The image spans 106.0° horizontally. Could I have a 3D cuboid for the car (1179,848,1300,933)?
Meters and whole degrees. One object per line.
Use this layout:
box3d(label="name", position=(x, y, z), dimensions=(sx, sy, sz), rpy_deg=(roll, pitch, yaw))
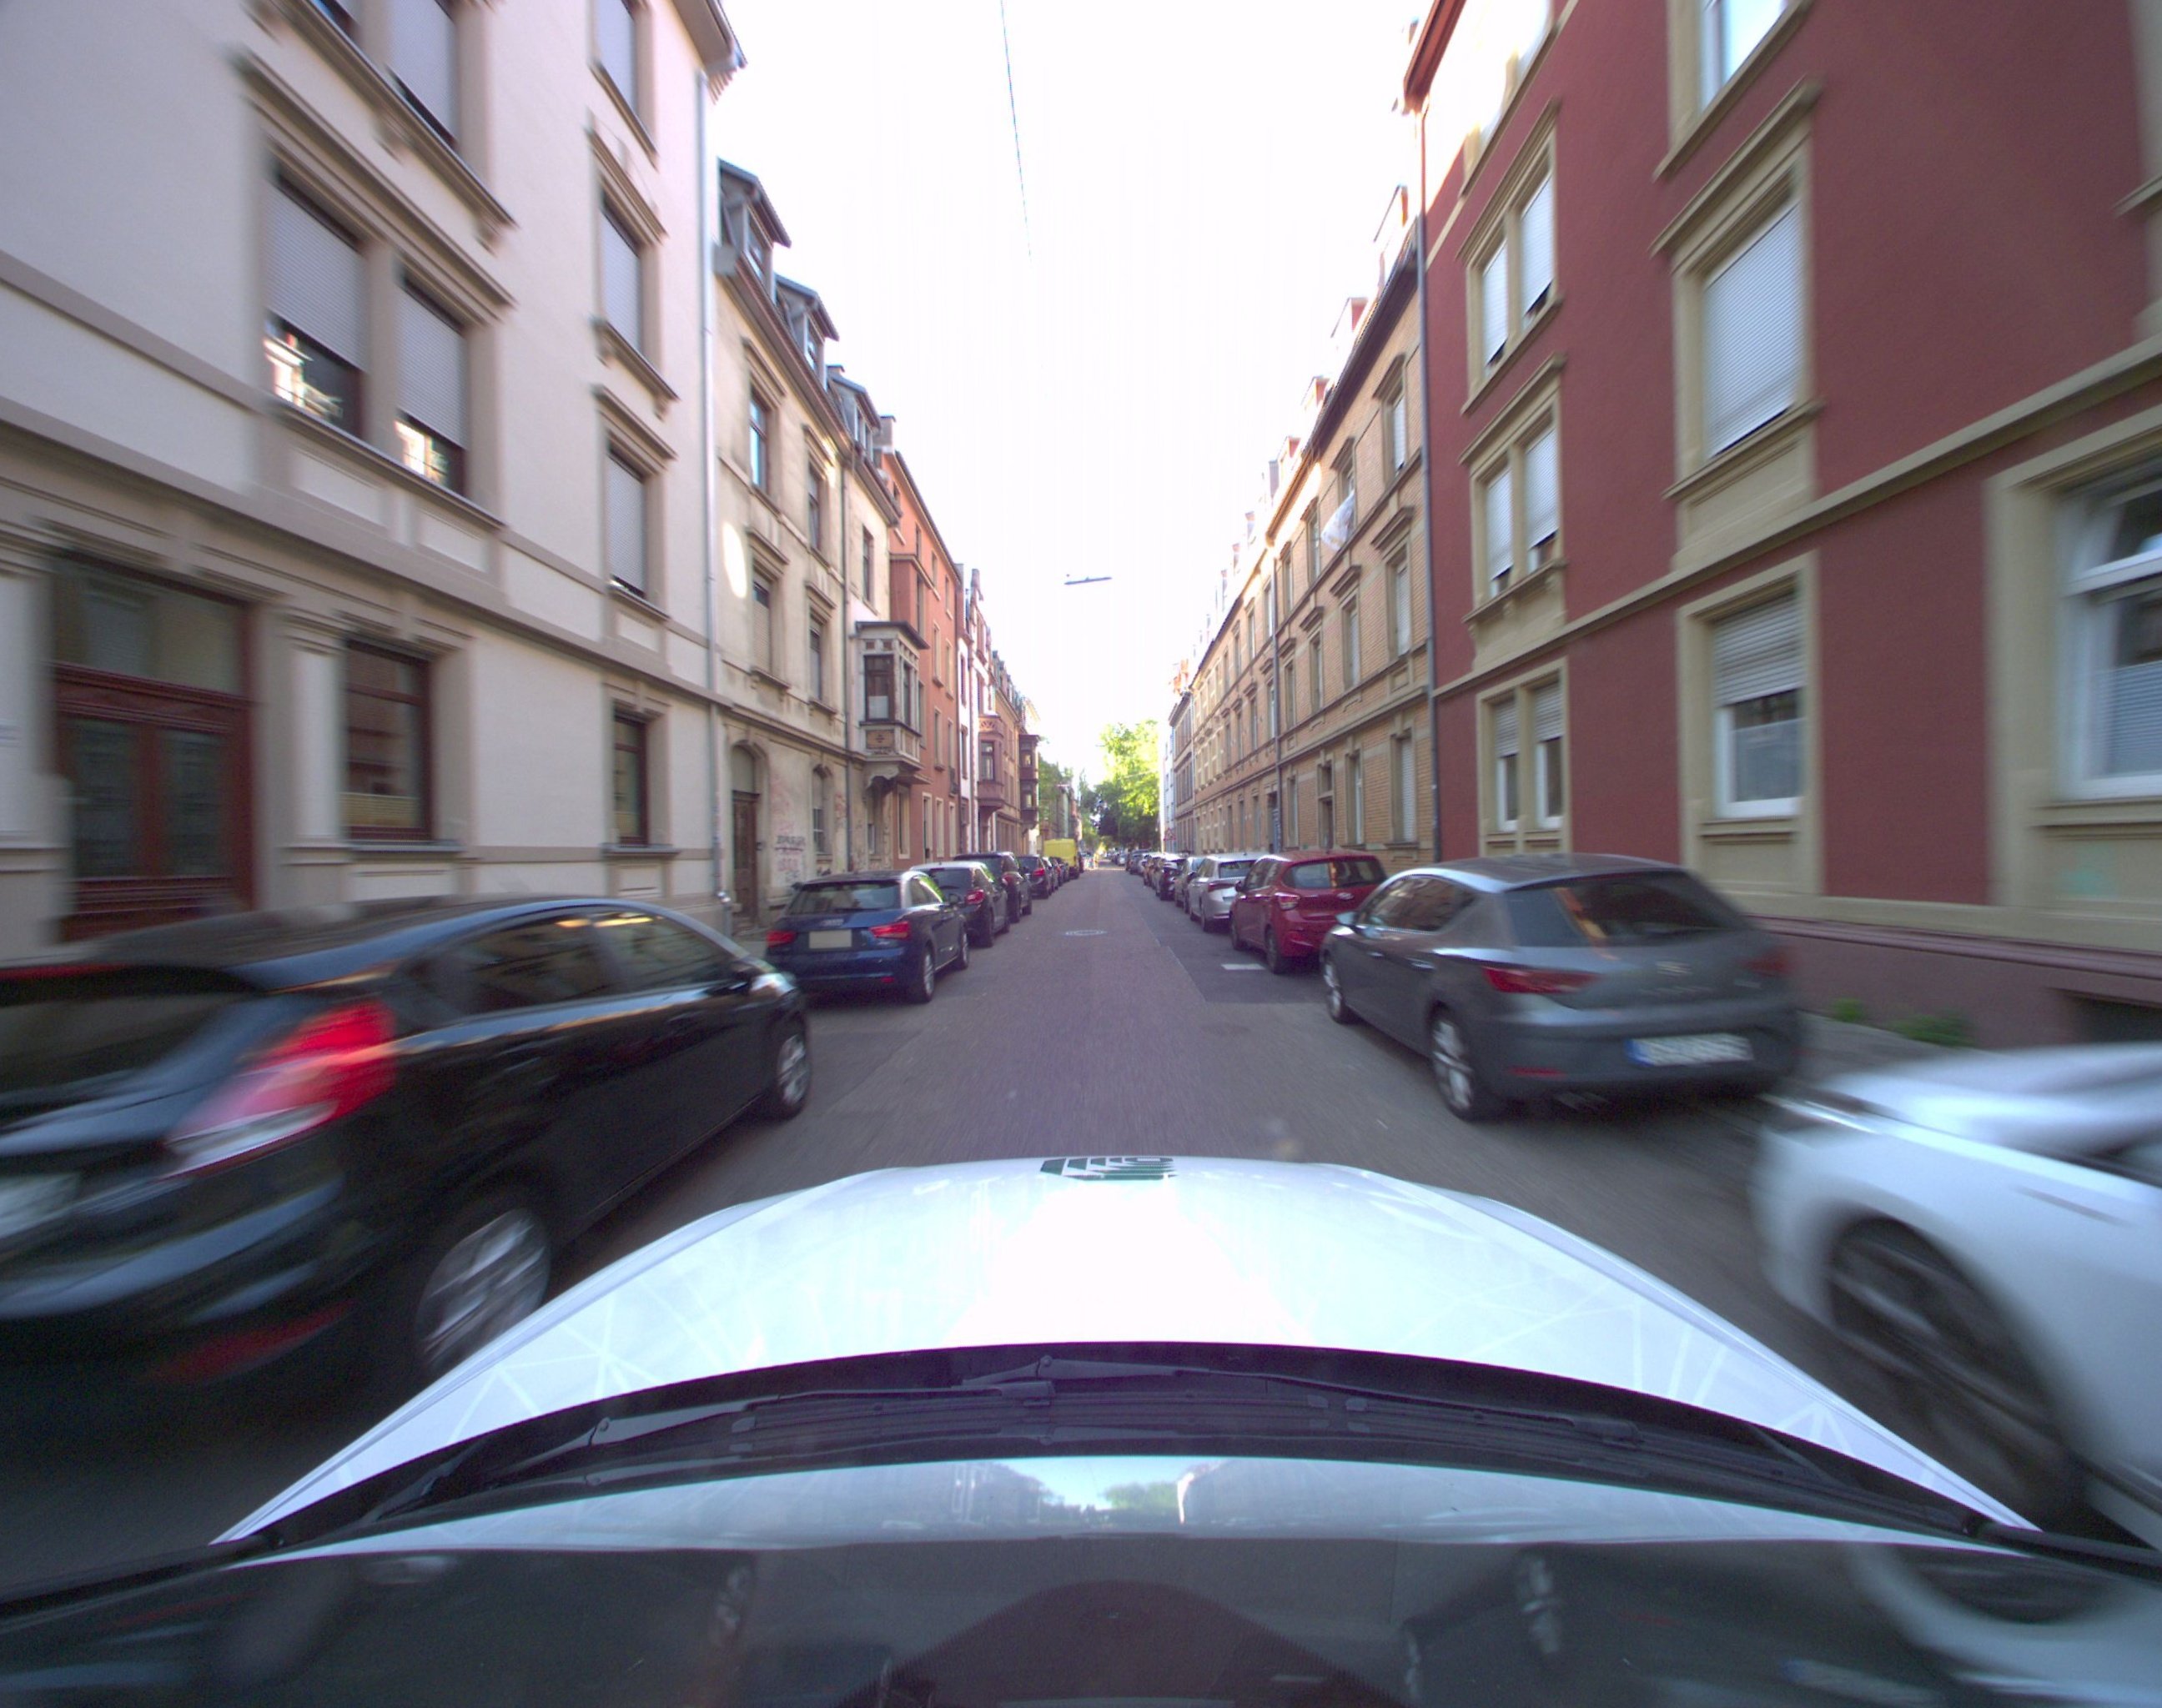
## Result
box3d(label="car", position=(3.091, 0.639, 16.717), dimensions=(1.755, 1.484, 4.404), rpy_deg=(-1, 0, 2))

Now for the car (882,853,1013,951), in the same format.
box3d(label="car", position=(-2.282, 0.765, 14.902), dimensions=(1.637, 1.455, 3.839), rpy_deg=(-4, 0, 0))

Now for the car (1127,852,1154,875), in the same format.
box3d(label="car", position=(4.326, 0.656, 59.833), dimensions=(1.746, 1.452, 4.291), rpy_deg=(-5, 0, 3))

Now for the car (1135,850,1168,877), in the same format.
box3d(label="car", position=(4.633, 0.608, 53.938), dimensions=(1.748, 1.518, 4.443), rpy_deg=(-5, 0, 1))

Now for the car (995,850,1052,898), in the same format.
box3d(label="car", position=(-2.026, 0.680, 29.803), dimensions=(1.775, 1.606, 4.069), rpy_deg=(-1, 0, 0))

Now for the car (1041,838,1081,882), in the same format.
box3d(label="car", position=(-1.193, 0.336, 51.916), dimensions=(2.167, 2.507, 5.879), rpy_deg=(-4, 0, 1))

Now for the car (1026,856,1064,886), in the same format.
box3d(label="car", position=(-1.737, 0.828, 40.700), dimensions=(1.612, 1.326, 3.612), rpy_deg=(-4, 0, 1))

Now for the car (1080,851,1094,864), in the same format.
box3d(label="car", position=(1.112, 0.624, 143.619), dimensions=(2.300, 2.114, 5.173), rpy_deg=(-1, -1, 2))

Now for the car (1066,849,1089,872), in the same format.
box3d(label="car", position=(-0.313, 0.544, 66.624), dimensions=(1.813, 1.766, 4.333), rpy_deg=(-1, 0, -1))

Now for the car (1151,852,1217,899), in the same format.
box3d(label="car", position=(3.364, 0.657, 27.249), dimensions=(1.770, 1.397, 4.319), rpy_deg=(-1, 0, 2))

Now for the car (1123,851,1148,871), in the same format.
box3d(label="car", position=(4.624, 0.574, 69.940), dimensions=(1.894, 1.640, 4.391), rpy_deg=(-1, -1, 1))

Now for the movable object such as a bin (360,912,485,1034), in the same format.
box3d(label="movable object such as a bin", position=(-5.543, 0.988, 6.880), dimensions=(0.619, 0.956, 0.511), rpy_deg=(0, 0, 1))

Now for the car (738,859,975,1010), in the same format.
box3d(label="car", position=(-2.422, 0.796, 9.792), dimensions=(1.775, 1.403, 3.742), rpy_deg=(-1, 0, 0))

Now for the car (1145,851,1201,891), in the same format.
box3d(label="car", position=(3.733, 0.653, 33.586), dimensions=(1.720, 1.417, 4.093), rpy_deg=(-5, 0, 0))

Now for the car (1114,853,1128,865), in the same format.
box3d(label="car", position=(5.894, 0.750, 120.656), dimensions=(1.888, 1.625, 4.000), rpy_deg=(-1, -1, 1))

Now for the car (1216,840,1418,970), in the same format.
box3d(label="car", position=(3.107, 0.588, 11.576), dimensions=(1.654, 1.479, 4.023), rpy_deg=(-1, 0, -1))

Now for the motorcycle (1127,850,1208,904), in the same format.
box3d(label="motorcycle", position=(2.565, 0.679, 24.155), dimensions=(2.230, 1.536, 0.883), rpy_deg=(1, 0, -25))

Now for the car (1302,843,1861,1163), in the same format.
box3d(label="car", position=(2.939, 0.701, 5.929), dimensions=(1.670, 1.503, 4.071), rpy_deg=(-1, 0, 2))

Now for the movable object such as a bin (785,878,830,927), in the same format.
box3d(label="movable object such as a bin", position=(-5.421, 0.956, 16.186), dimensions=(0.610, 0.920, 0.734), rpy_deg=(-1, 0, 1))

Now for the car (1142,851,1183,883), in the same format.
box3d(label="car", position=(4.272, 0.664, 43.300), dimensions=(1.715, 1.480, 4.083), rpy_deg=(-5, 0, 1))

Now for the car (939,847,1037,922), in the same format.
box3d(label="car", position=(-2.165, 0.665, 20.088), dimensions=(1.754, 1.617, 4.191), rpy_deg=(-1, 0, 2))

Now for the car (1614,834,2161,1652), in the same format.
box3d(label="car", position=(2.761, 0.684, 0.980), dimensions=(1.699, 1.462, 3.971), rpy_deg=(-1, 0, 1))

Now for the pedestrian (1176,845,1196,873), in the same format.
box3d(label="pedestrian", position=(6.385, 0.283, 49.459), dimensions=(0.659, 1.630, 0.870), rpy_deg=(-2, -1, -41))

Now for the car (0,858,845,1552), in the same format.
box3d(label="car", position=(-2.574, 0.793, 3.666), dimensions=(1.774, 1.483, 3.744), rpy_deg=(-1, 0, 2))

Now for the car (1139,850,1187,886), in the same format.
box3d(label="car", position=(3.793, 0.641, 38.332), dimensions=(1.748, 1.446, 4.068), rpy_deg=(-5, 0, 0))

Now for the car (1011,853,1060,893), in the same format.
box3d(label="car", position=(-1.884, 0.762, 34.715), dimensions=(1.688, 1.474, 3.920), rpy_deg=(-4, 0, 2))

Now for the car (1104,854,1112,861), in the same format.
box3d(label="car", position=(6.927, 0.989, 208.655), dimensions=(1.986, 1.728, 4.001), rpy_deg=(-2, 0, 1))

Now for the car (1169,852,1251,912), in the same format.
box3d(label="car", position=(3.341, 0.685, 21.780), dimensions=(1.685, 1.406, 3.994), rpy_deg=(-1, 0, 2))

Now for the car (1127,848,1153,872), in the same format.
box3d(label="car", position=(4.662, 0.442, 65.268), dimensions=(1.747, 1.786, 4.725), rpy_deg=(-4, 0, 1))

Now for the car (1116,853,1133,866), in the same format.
box3d(label="car", position=(5.320, 0.661, 99.373), dimensions=(1.719, 1.522, 3.998), rpy_deg=(-2, 0, -1))

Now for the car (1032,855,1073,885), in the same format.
box3d(label="car", position=(-1.530, 0.842, 45.243), dimensions=(1.711, 1.412, 3.902), rpy_deg=(-6, 0, 4))
